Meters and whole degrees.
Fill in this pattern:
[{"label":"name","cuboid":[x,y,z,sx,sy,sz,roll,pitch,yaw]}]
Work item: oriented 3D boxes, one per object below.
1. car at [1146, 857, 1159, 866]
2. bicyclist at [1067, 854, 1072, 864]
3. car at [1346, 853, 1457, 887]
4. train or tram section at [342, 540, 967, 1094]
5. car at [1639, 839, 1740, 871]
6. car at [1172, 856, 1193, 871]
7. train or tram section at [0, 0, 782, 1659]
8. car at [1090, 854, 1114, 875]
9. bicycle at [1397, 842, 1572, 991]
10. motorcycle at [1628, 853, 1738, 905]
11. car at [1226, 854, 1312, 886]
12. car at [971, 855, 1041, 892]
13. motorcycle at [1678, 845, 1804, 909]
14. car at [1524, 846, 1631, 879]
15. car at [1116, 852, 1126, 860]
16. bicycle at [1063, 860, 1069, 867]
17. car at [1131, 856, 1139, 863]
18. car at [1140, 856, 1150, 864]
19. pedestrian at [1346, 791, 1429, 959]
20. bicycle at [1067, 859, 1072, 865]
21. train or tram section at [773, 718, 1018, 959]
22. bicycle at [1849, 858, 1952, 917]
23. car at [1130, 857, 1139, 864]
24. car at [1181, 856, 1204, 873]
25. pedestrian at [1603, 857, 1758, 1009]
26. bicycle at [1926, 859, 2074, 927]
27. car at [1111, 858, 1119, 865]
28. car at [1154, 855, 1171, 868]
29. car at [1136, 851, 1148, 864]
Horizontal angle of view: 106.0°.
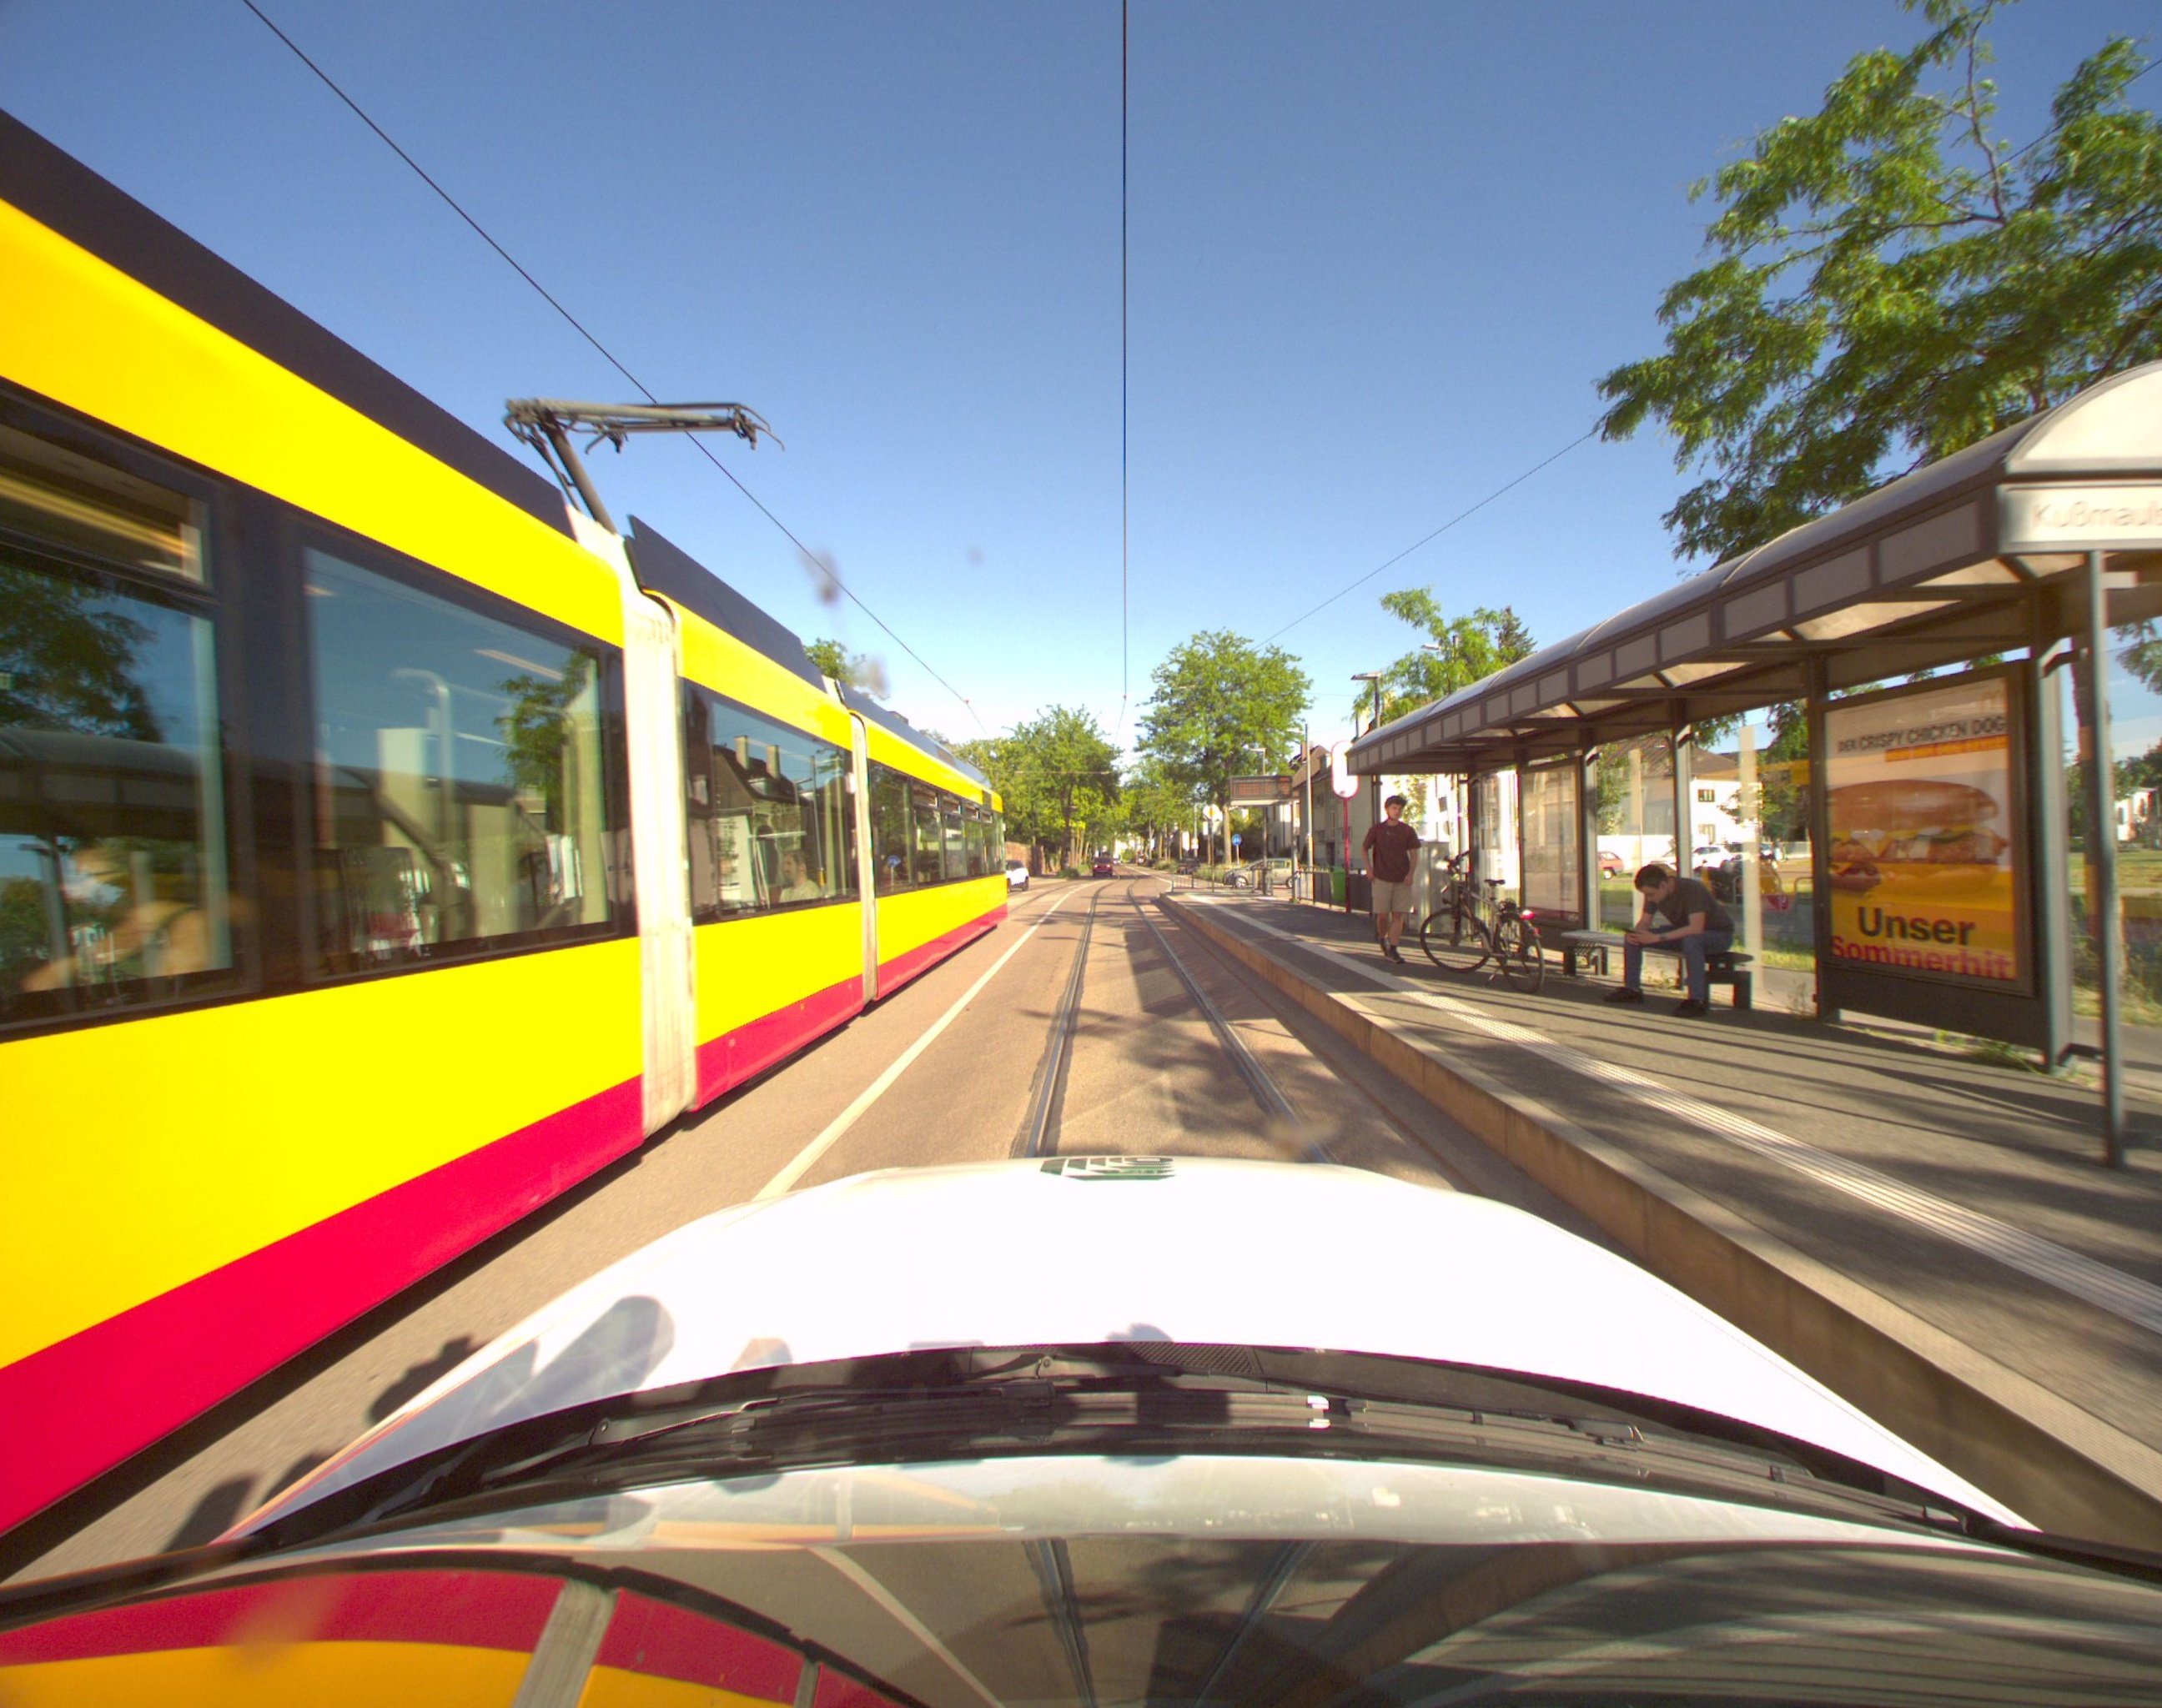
[{"label":"car","cuboid":[12.610,1.270,143.743,1.778,1.448,4.300,-4,0,0]},{"label":"bicyclist","cuboid":[-1.747,0.783,122.388,0.591,1.527,1.062,-1,-1,2]},{"label":"car","cuboid":[14.835,0.763,37.954,4.571,1.466,1.989,-2,-2,13]},{"label":"train or tram section","cuboid":[-3.170,-0.223,8.473,2.793,3.460,6.671,-1,0,2]},{"label":"car","cuboid":[30.760,0.046,41.182,4.171,1.508,1.971,-1,0,-16]},{"label":"car","cuboid":[10.479,1.004,84.573,1.742,1.495,3.998,-2,0,1]},{"label":"train or tram section","cuboid":[-3.388,-0.237,1.760,2.793,3.460,6.671,-1,0,2]},{"label":"car","cuboid":[1.938,0.979,77.127,1.988,1.966,4.931,-1,0,-1]},{"label":"bicycle","cuboid":[3.720,0.520,7.723,0.618,1.229,1.965,0,0,-2]},{"label":"motorcycle","cuboid":[14.189,0.577,19.221,1.995,1.158,0.860,-1,-1,-5]},{"label":"car","cuboid":[9.118,0.773,39.658,3.961,1.508,1.988,-1,0,11]},{"label":"car","cuboid":[-3.570,0.916,39.543,1.750,1.663,4.230,-2,0,19]},{"label":"motorcycle","cuboid":[14.105,0.488,17.441,2.074,1.274,0.860,-1,-1,-5]},{"label":"car","cuboid":[24.506,0.424,40.278,4.154,1.508,1.979,-1,0,-4]},{"label":"car","cuboid":[12.352,0.573,253.380,1.995,2.458,4.491,-2,0,-11]},{"label":"bicycle","cuboid":[-2.102,1.357,117.901,0.708,0.960,2.096,-2,0,3]},{"label":"car","cuboid":[14.905,1.575,224.375,1.993,1.675,4.399,-3,0,5]},{"label":"car","cuboid":[12.054,1.064,153.498,1.621,1.397,3.646,-4,0,1]},{"label":"pedestrian","cuboid":[3.508,0.234,9.368,0.708,1.853,0.729,0,0,3]},{"label":"bicycle","cuboid":[-1.748,1.227,122.177,0.587,0.960,2.133,-2,0,3]},{"label":"train or tram section","cuboid":[-2.955,-0.218,15.170,2.793,3.460,6.671,-1,0,2]},{"label":"bicycle","cuboid":[14.259,0.573,14.175,1.467,0.979,0.415,-1,-1,-5]},{"label":"car","cuboid":[13.643,1.723,206.881,1.995,1.675,4.393,-3,0,1]},{"label":"car","cuboid":[10.718,0.983,78.560,1.742,1.495,4.444,-2,0,1]},{"label":"pedestrian","cuboid":[4.648,0.586,6.361,0.735,1.117,0.658,0,0,1]},{"label":"bicycle","cuboid":[14.308,0.598,12.689,1.894,0.979,0.490,-1,-1,-5]},{"label":"car","cuboid":[8.566,1.889,203.006,1.857,1.675,4.177,-2,0,4]},{"label":"car","cuboid":[11.758,1.008,117.277,1.987,1.704,4.477,-4,0,1]},{"label":"car","cuboid":[13.132,0.836,174.895,2.237,2.654,5.587,-1,0,1]}]
